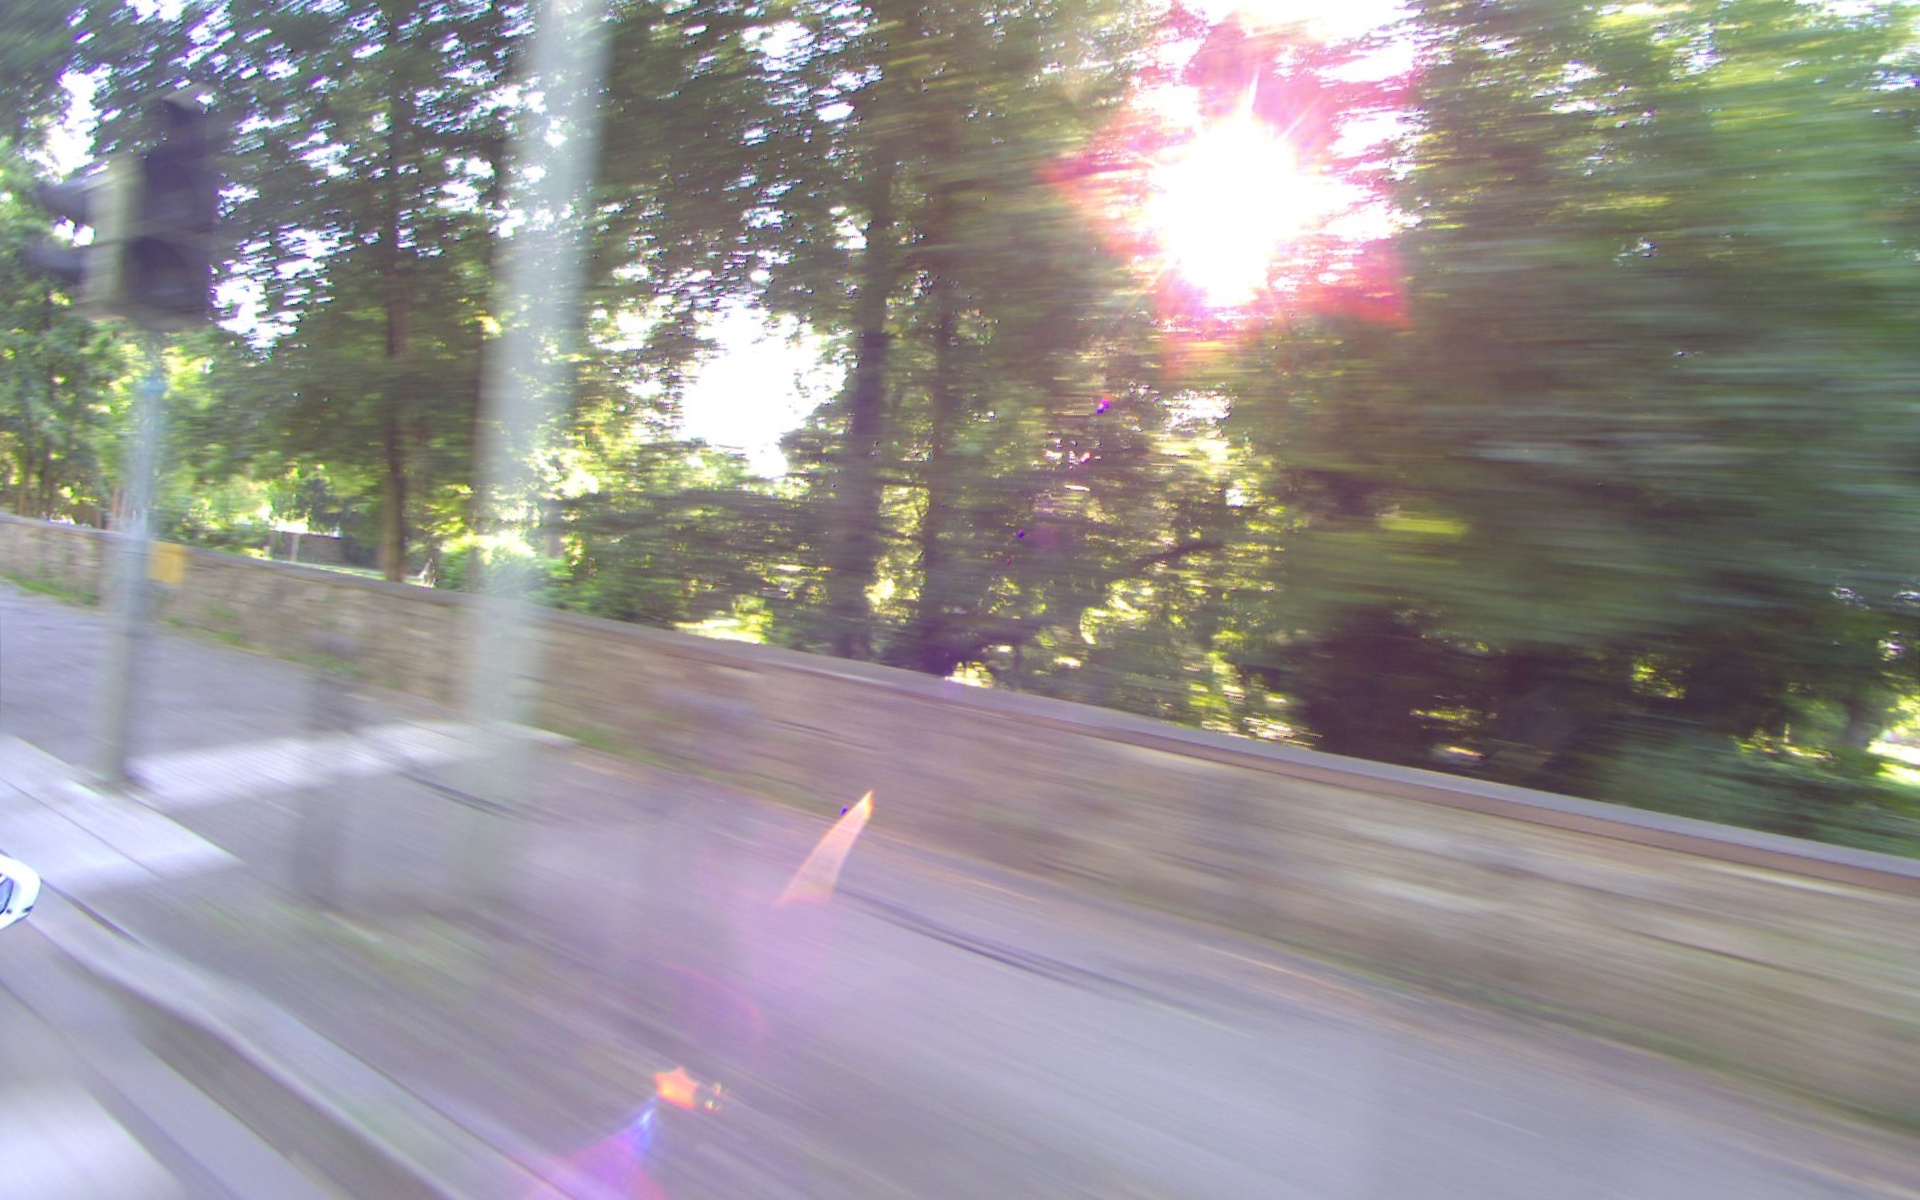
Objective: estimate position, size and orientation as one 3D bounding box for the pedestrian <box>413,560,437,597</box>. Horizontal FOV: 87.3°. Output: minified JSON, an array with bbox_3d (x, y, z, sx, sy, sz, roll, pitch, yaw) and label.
[{"bbox_3d":[-25.229,-1.004,47.457,0.626,1.659,0.615,7,-1,33],"label":"pedestrian"}]
